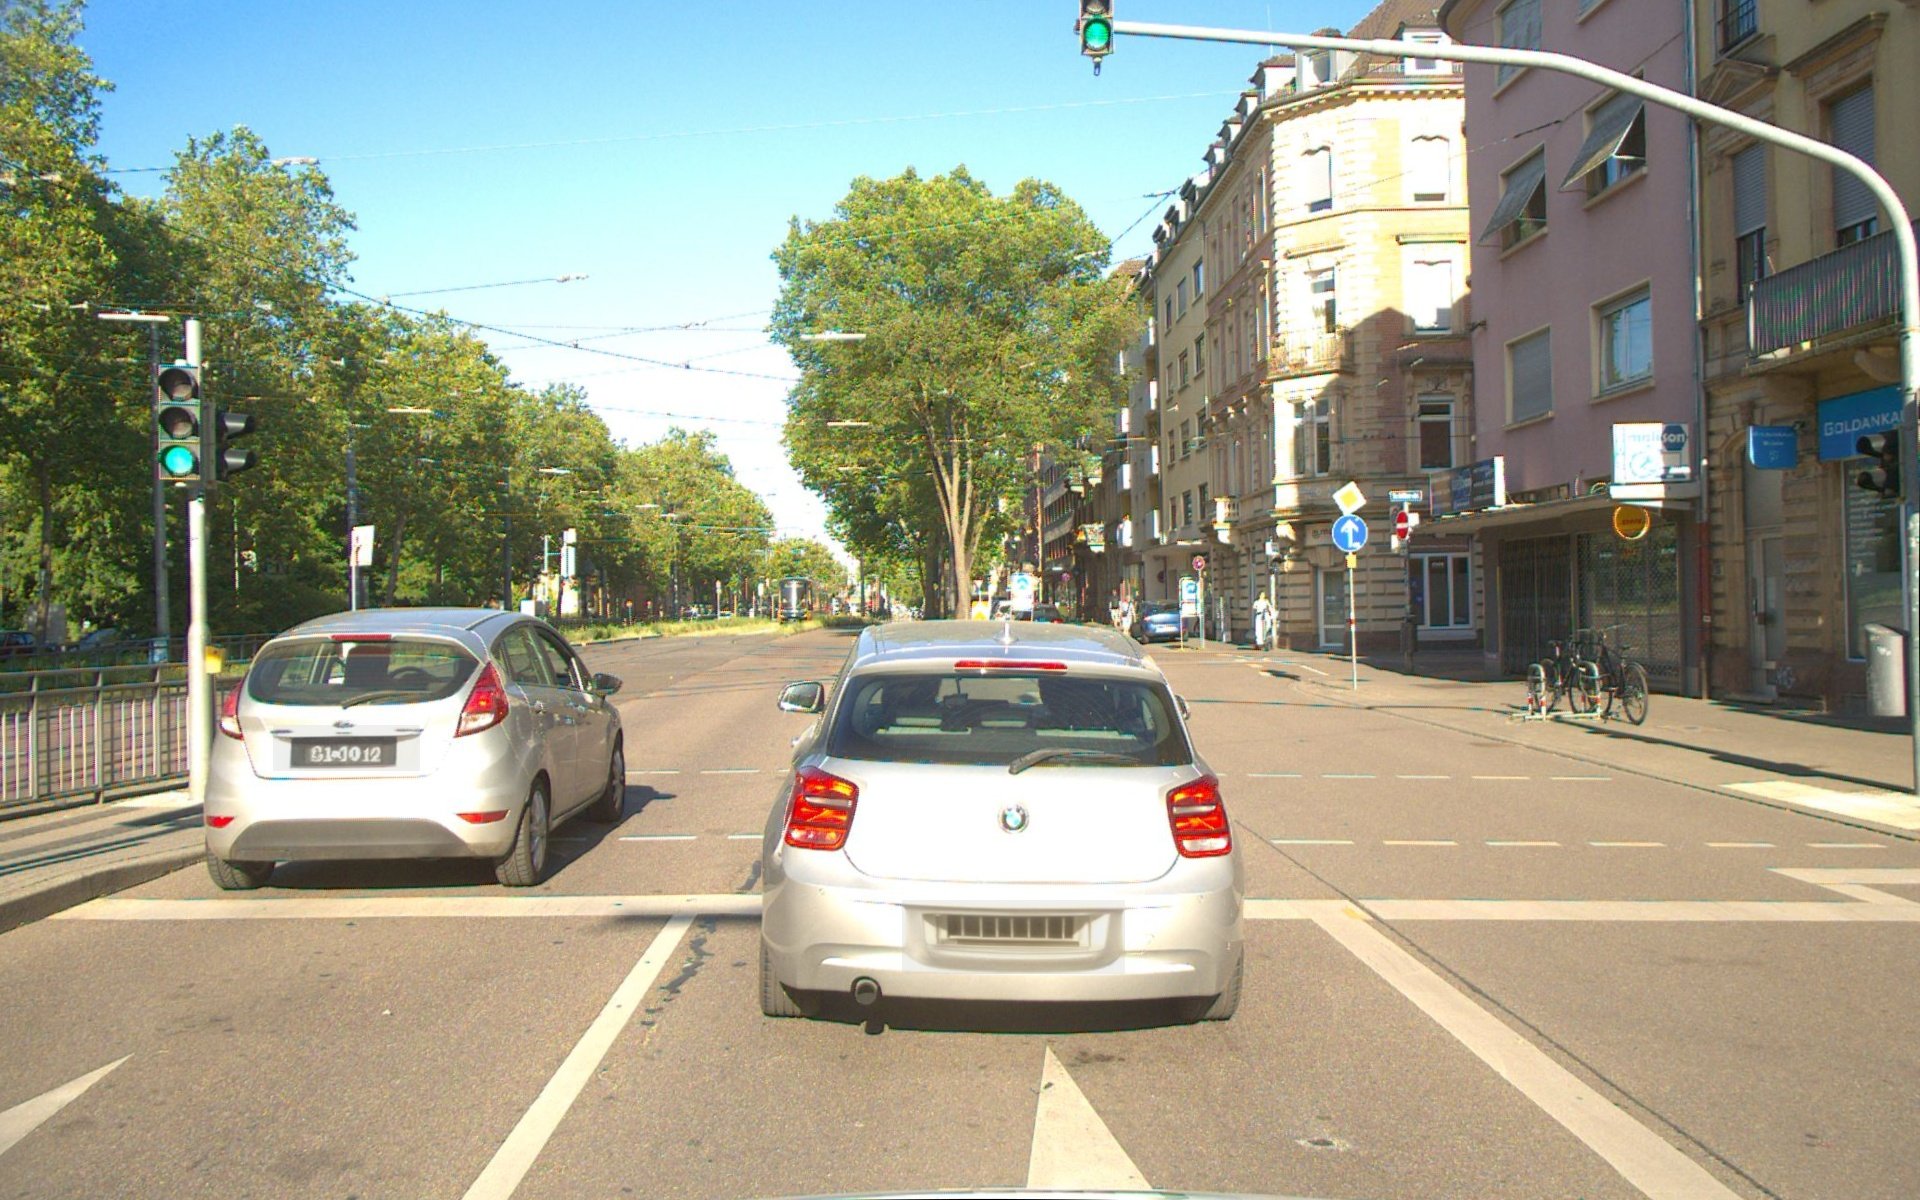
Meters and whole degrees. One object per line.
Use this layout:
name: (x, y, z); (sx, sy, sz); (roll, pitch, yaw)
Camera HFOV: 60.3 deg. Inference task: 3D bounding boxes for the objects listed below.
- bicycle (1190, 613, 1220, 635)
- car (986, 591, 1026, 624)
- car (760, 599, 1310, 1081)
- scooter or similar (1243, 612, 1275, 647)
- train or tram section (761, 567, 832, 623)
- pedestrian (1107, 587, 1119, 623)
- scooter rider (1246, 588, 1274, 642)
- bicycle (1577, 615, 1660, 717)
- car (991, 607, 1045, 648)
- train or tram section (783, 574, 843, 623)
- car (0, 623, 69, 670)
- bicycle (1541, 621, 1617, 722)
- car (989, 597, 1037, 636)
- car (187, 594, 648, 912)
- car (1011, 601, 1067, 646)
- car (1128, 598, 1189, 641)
bicycle: (9.089, 0.877, 61.327); (0.739, 0.784, 1.944); (-1, 0, -2)
car: (2.185, 0.366, 78.970); (1.690, 1.533, 3.553); (0, 0, -2)
car: (0.202, 0.751, 7.167); (1.705, 1.493, 3.999); (1, 0, -1)
scooter or similar: (8.689, 0.850, 48.058); (0.332, 1.005, 1.277); (-1, 0, -19)
train or tram section: (-12.383, -0.371, 126.989); (3.888, 3.933, 17.484); (-1, 0, -1)
pedestrian: (7.874, 0.276, 85.380); (0.495, 1.833, 0.805); (-1, 0, -1)
scooter rider: (8.718, 0.435, 48.061); (0.458, 1.531, 0.807); (-1, 0, -17)
bicycle: (8.089, 0.786, 20.367); (0.439, 1.179, 1.759); (-1, 0, 5)
car: (2.092, 0.991, 60.625); (1.709, 1.458, 3.553); (0, 0, -2)
train or tram section: (-12.675, -0.147, 144.485); (3.924, 3.933, 17.484); (-1, 0, -1)
car: (-29.450, 1.420, 50.635); (1.897, 1.372, 4.846); (-1, -1, -2)
bicycle: (7.600, 0.855, 20.362); (0.405, 1.161, 1.810); (0, 0, 5)
car: (2.097, 0.649, 66.222); (1.690, 1.533, 3.553); (0, 0, -2)
car: (-2.963, 0.725, 9.874); (1.577, 1.493, 3.888); (-1, 0, -2)
car: (2.589, 0.757, 55.060); (1.700, 1.458, 3.678); (0, 0, 0)
car: (7.281, 0.704, 60.963); (1.700, 1.546, 3.635); (0, 0, -2)
